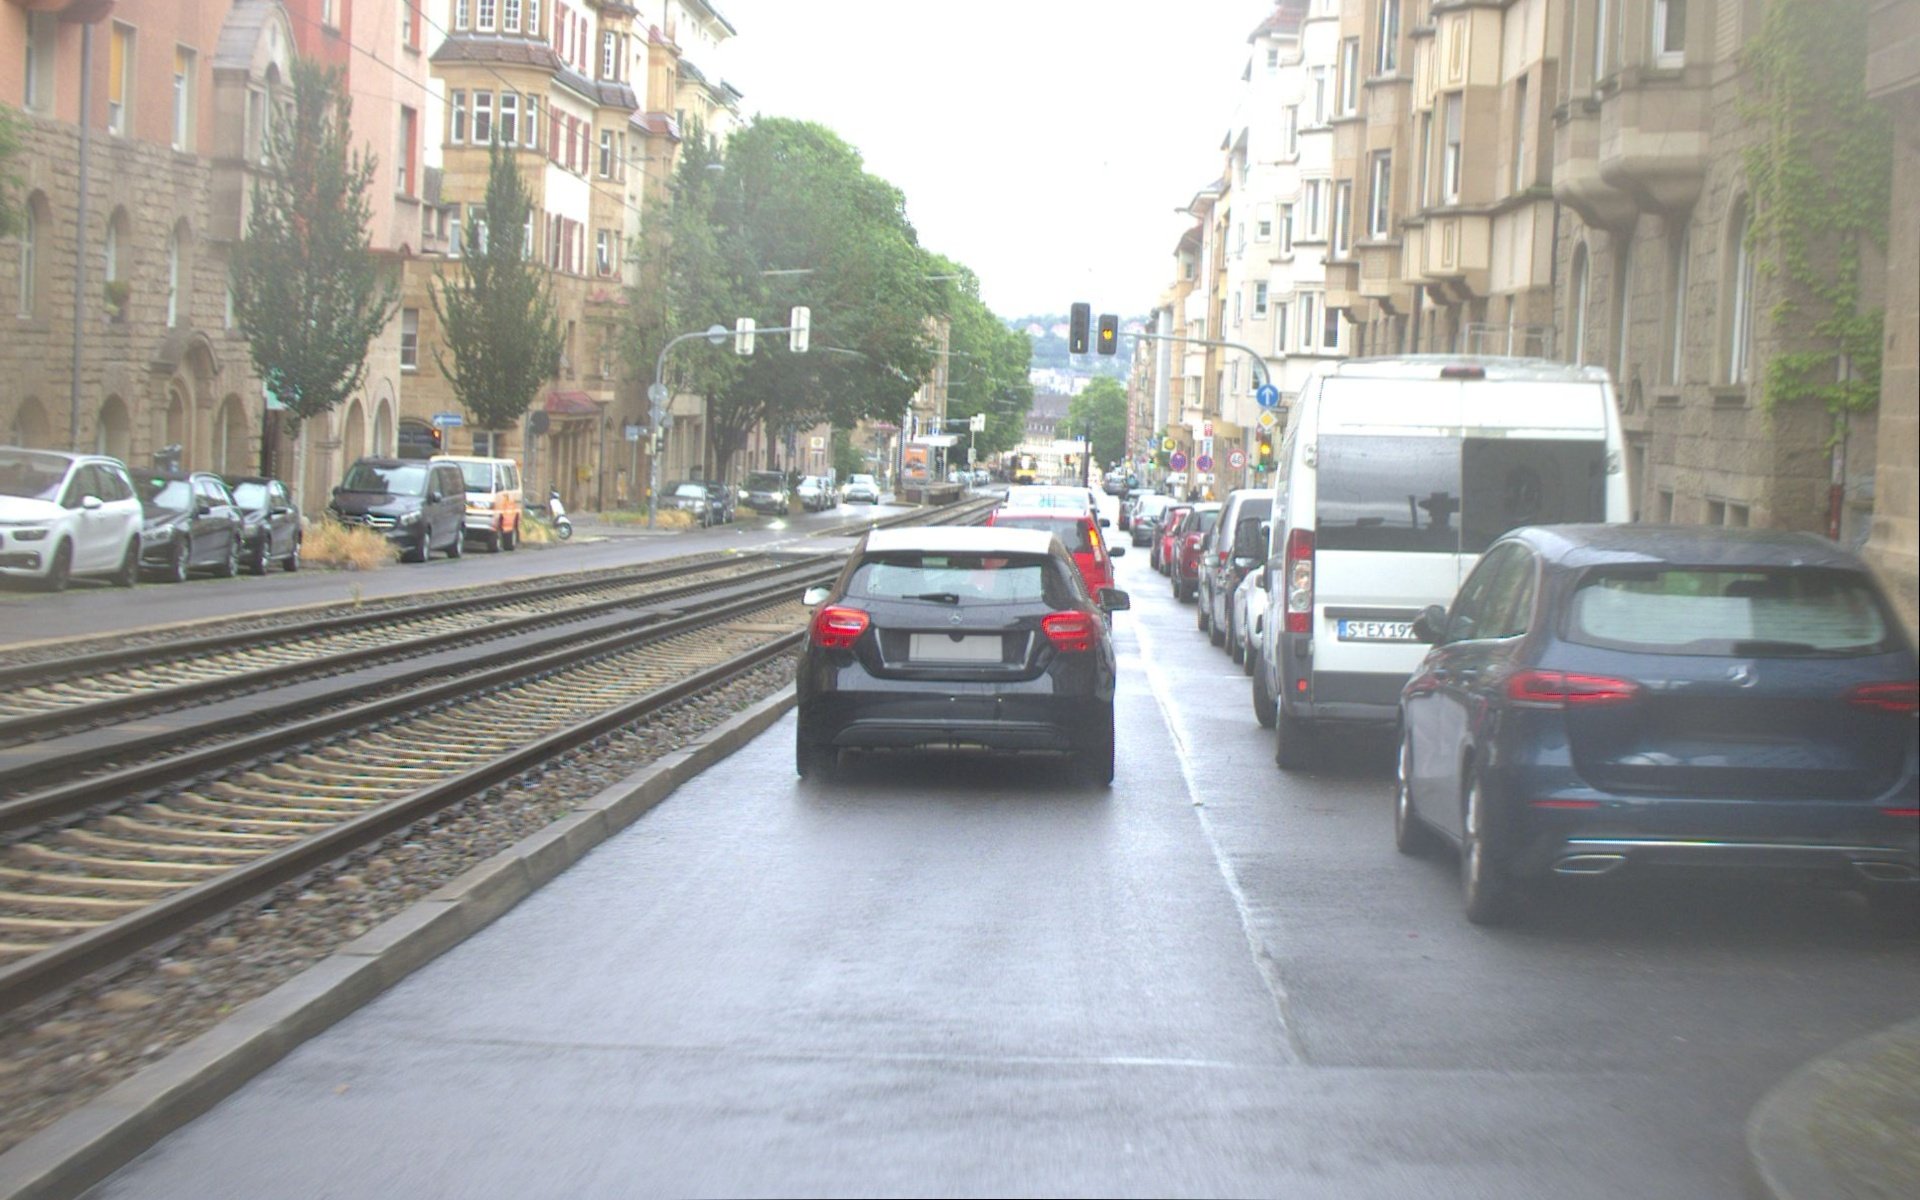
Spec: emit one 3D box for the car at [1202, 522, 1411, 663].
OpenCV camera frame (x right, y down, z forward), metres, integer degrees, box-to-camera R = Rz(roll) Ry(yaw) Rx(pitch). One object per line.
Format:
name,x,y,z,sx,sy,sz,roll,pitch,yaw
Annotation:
car,3.832,-0.121,38.667,1.993,1.436,4.000,2,1,1

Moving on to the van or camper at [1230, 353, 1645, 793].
van or camper,2.981,-0.227,22.821,2.064,2.460,6.118,2,1,2

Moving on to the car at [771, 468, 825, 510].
car,-7.267,-4.982,154.440,1.994,1.787,4.000,3,2,2

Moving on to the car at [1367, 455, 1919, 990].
car,2.808,0.371,14.342,1.769,1.801,4.482,3,2,2

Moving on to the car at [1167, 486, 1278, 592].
car,4.407,-1.056,57.856,1.711,1.623,4.000,3,2,4

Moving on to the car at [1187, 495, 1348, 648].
car,3.839,-0.407,43.515,1.774,1.770,4.360,2,2,2

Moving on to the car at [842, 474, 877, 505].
car,-5.339,-5.883,182.907,1.795,1.543,4.001,2,2,-1

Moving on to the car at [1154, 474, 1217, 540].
car,7.318,-3.015,111.875,1.898,2.021,4.176,2,1,3

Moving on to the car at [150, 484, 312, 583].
car,-11.142,-1.043,52.724,1.642,1.393,3.884,2,2,-1

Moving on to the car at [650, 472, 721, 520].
car,-8.847,-3.346,110.969,1.772,1.459,4.000,2,1,3

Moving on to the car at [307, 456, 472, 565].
car,-10.659,-1.687,64.556,1.994,1.895,4.699,2,2,4

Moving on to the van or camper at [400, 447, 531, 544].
van or camper,-10.344,-2.200,72.178,1.993,1.895,4.699,2,2,0

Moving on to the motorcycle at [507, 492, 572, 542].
motorcycle,-10.130,-1.997,82.763,1.439,1.130,0.619,4,2,32

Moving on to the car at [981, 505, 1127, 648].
car,1.124,-0.305,39.976,1.536,1.505,4.000,3,1,3

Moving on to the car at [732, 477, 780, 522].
car,-7.981,-3.937,134.399,1.789,1.685,4.001,2,2,-3

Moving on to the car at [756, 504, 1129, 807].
car,-0.059,0.256,20.173,1.946,1.559,3.643,2,1,1

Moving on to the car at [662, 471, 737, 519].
car,-8.788,-3.569,116.291,1.994,1.512,4.000,3,2,2

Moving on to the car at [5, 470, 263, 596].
car,-11.303,-0.955,47.429,1.994,1.504,4.974,4,2,3

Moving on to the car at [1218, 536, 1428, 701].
car,3.496,0.132,33.684,1.676,1.406,4.000,2,2,2

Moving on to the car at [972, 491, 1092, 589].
car,1.274,-1.113,62.633,1.921,1.649,4.001,2,2,-2

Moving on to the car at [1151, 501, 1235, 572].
car,5.060,-1.404,74.992,1.602,1.414,3.149,2,2,1

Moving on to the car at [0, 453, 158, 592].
car,-11.341,-0.978,41.835,1.785,1.584,4.350,3,2,4
